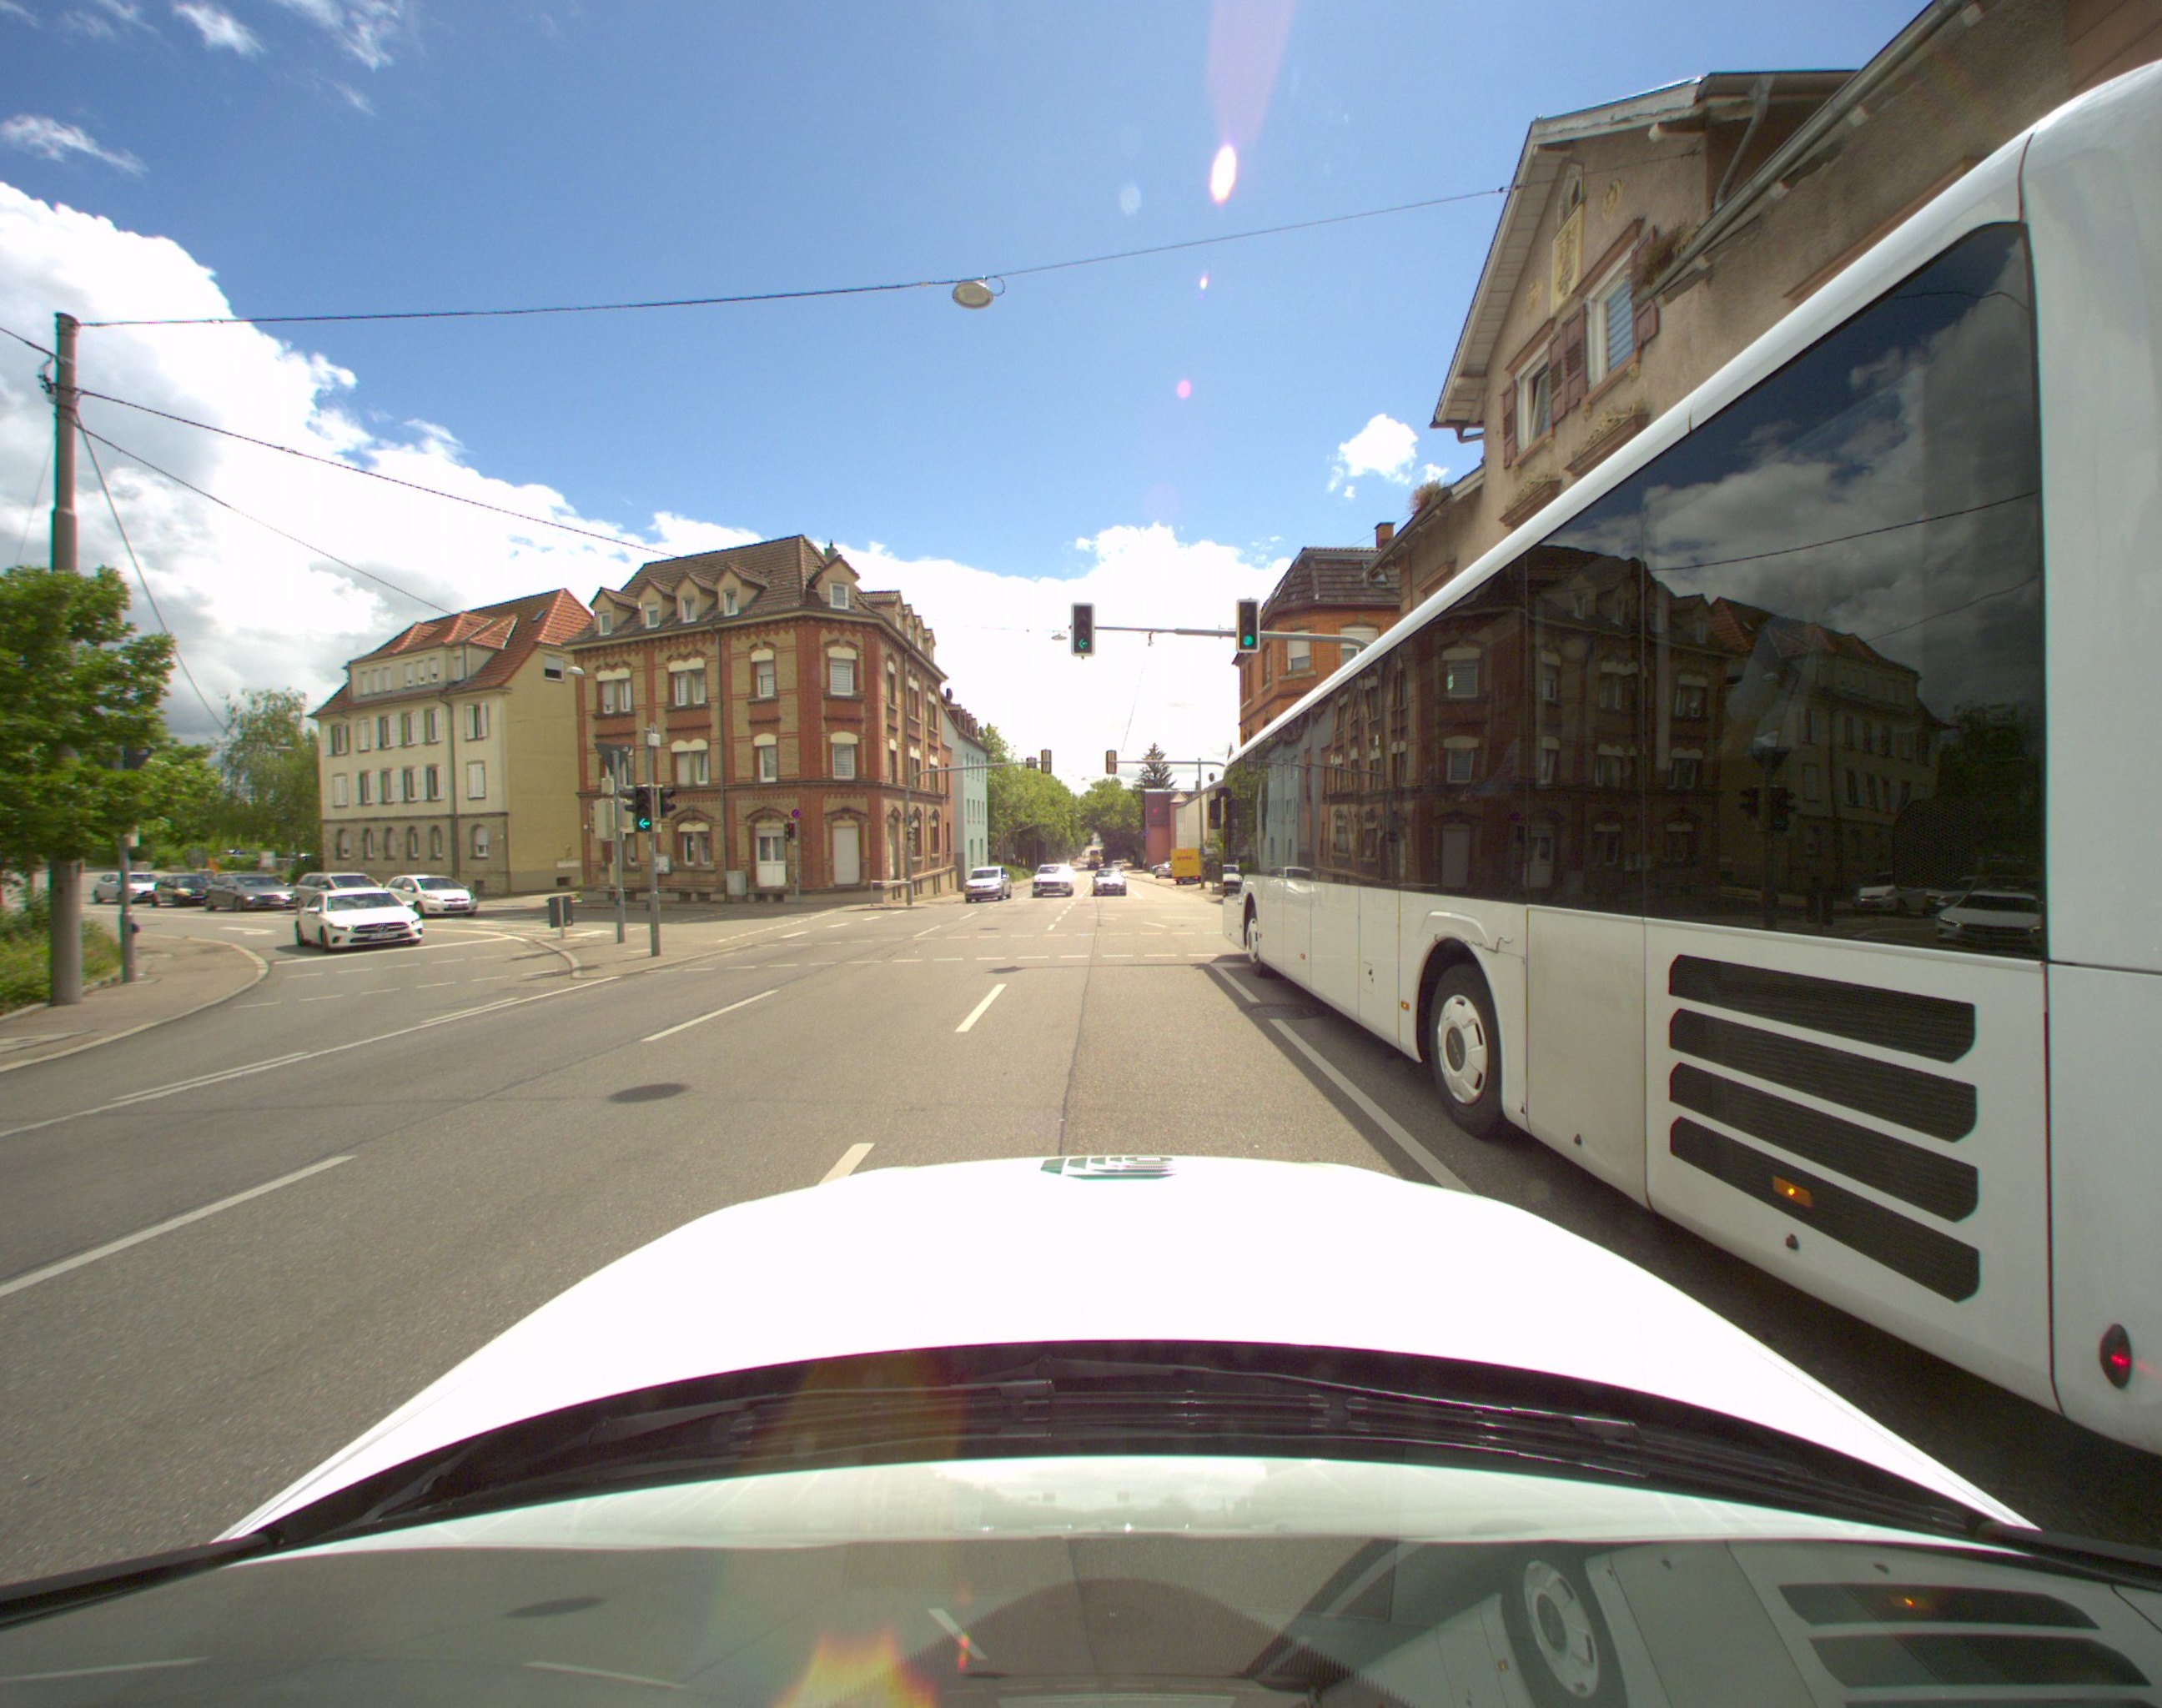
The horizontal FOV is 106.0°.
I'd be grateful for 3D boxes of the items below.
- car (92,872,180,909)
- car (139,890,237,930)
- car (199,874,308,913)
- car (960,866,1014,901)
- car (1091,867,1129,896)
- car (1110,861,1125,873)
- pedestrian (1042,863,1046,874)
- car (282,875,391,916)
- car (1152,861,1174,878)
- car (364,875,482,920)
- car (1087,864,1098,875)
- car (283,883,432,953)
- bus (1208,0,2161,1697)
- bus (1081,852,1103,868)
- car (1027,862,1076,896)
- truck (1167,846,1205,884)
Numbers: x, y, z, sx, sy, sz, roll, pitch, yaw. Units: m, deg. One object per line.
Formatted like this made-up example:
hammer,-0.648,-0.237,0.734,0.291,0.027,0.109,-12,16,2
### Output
car,-47.097,1.802,40.583,3.950,1.720,1.957,-1,-1,27
car,-40.423,2.479,36.847,4.291,1.586,2.012,-1,0,29
car,-35.352,1.669,34.810,3.951,1.519,2.011,-1,-1,24
car,-4.554,1.406,40.045,1.928,1.563,4.390,-2,-1,2
car,1.524,1.424,43.126,1.858,1.367,4.548,-2,-1,2
car,5.628,1.954,125.944,2.086,1.830,4.140,-1,-1,-2
pedestrian,-6.135,2.372,133.719,0.604,1.758,0.653,-2,-1,0
car,-29.819,1.655,32.613,3.951,1.519,1.757,-1,-1,24
car,8.963,1.697,89.162,1.905,1.817,3.998,-1,-1,-1
car,-23.833,1.545,29.502,3.951,1.497,1.711,-1,-1,24
car,1.961,2.687,139.611,1.813,1.785,4.001,-2,-1,2
car,-18.377,1.570,20.632,4.334,1.447,1.875,-2,2,36
bus,3.429,-0.264,7.548,2.893,3.510,12.491,-1,-1,2
bus,2.626,1.546,199.678,3.300,3.631,11.206,-2,-1,-9
car,-1.486,1.277,42.742,2.199,1.613,4.548,-2,-1,2
truck,8.627,0.883,66.273,2.524,2.913,6.593,-1,-1,11
